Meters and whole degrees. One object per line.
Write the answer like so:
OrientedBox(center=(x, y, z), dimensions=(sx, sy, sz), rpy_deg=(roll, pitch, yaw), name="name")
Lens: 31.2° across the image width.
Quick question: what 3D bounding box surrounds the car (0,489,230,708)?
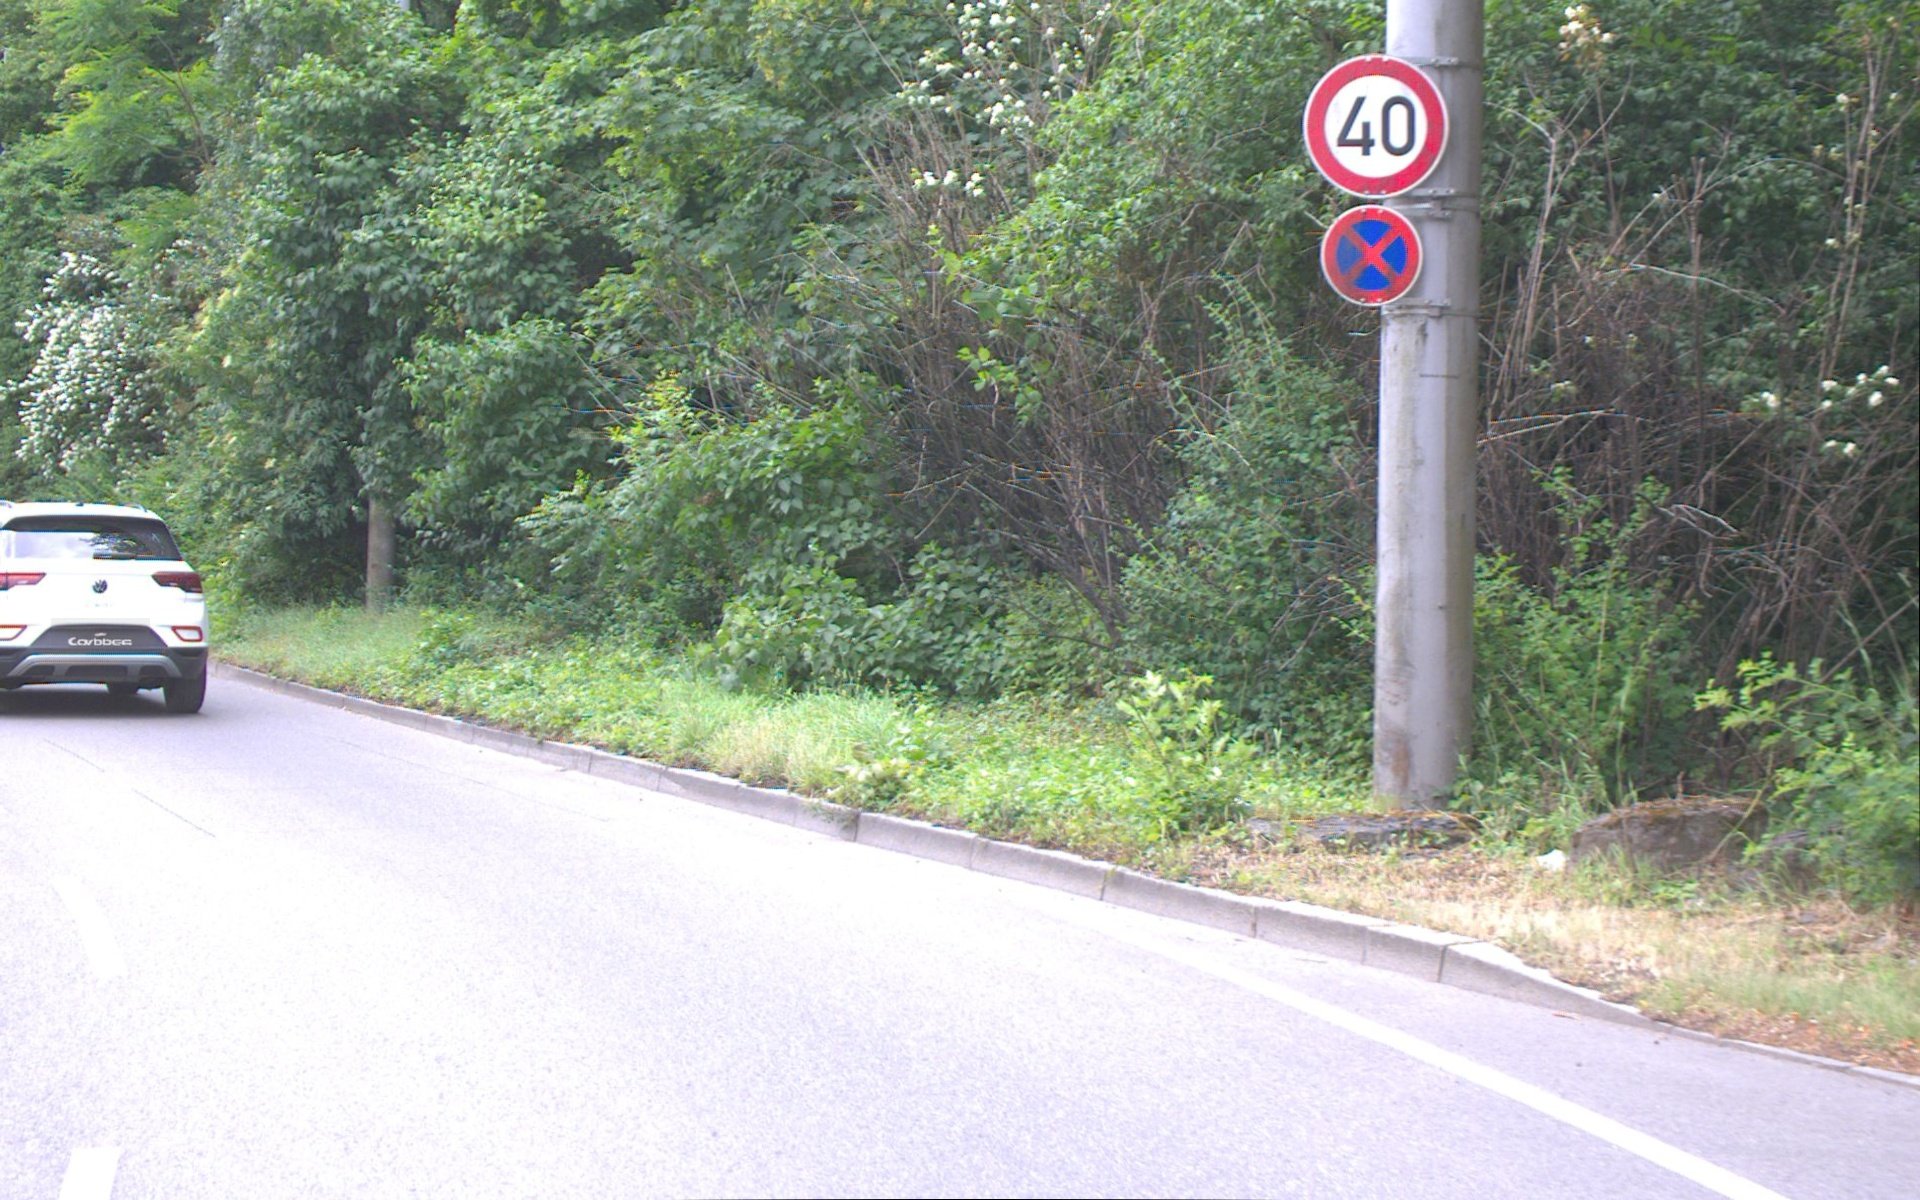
OrientedBox(center=(-6.982, -0.045, 26.460), dimensions=(1.864, 1.551, 3.895), rpy_deg=(1, 1, -24), name="car")
